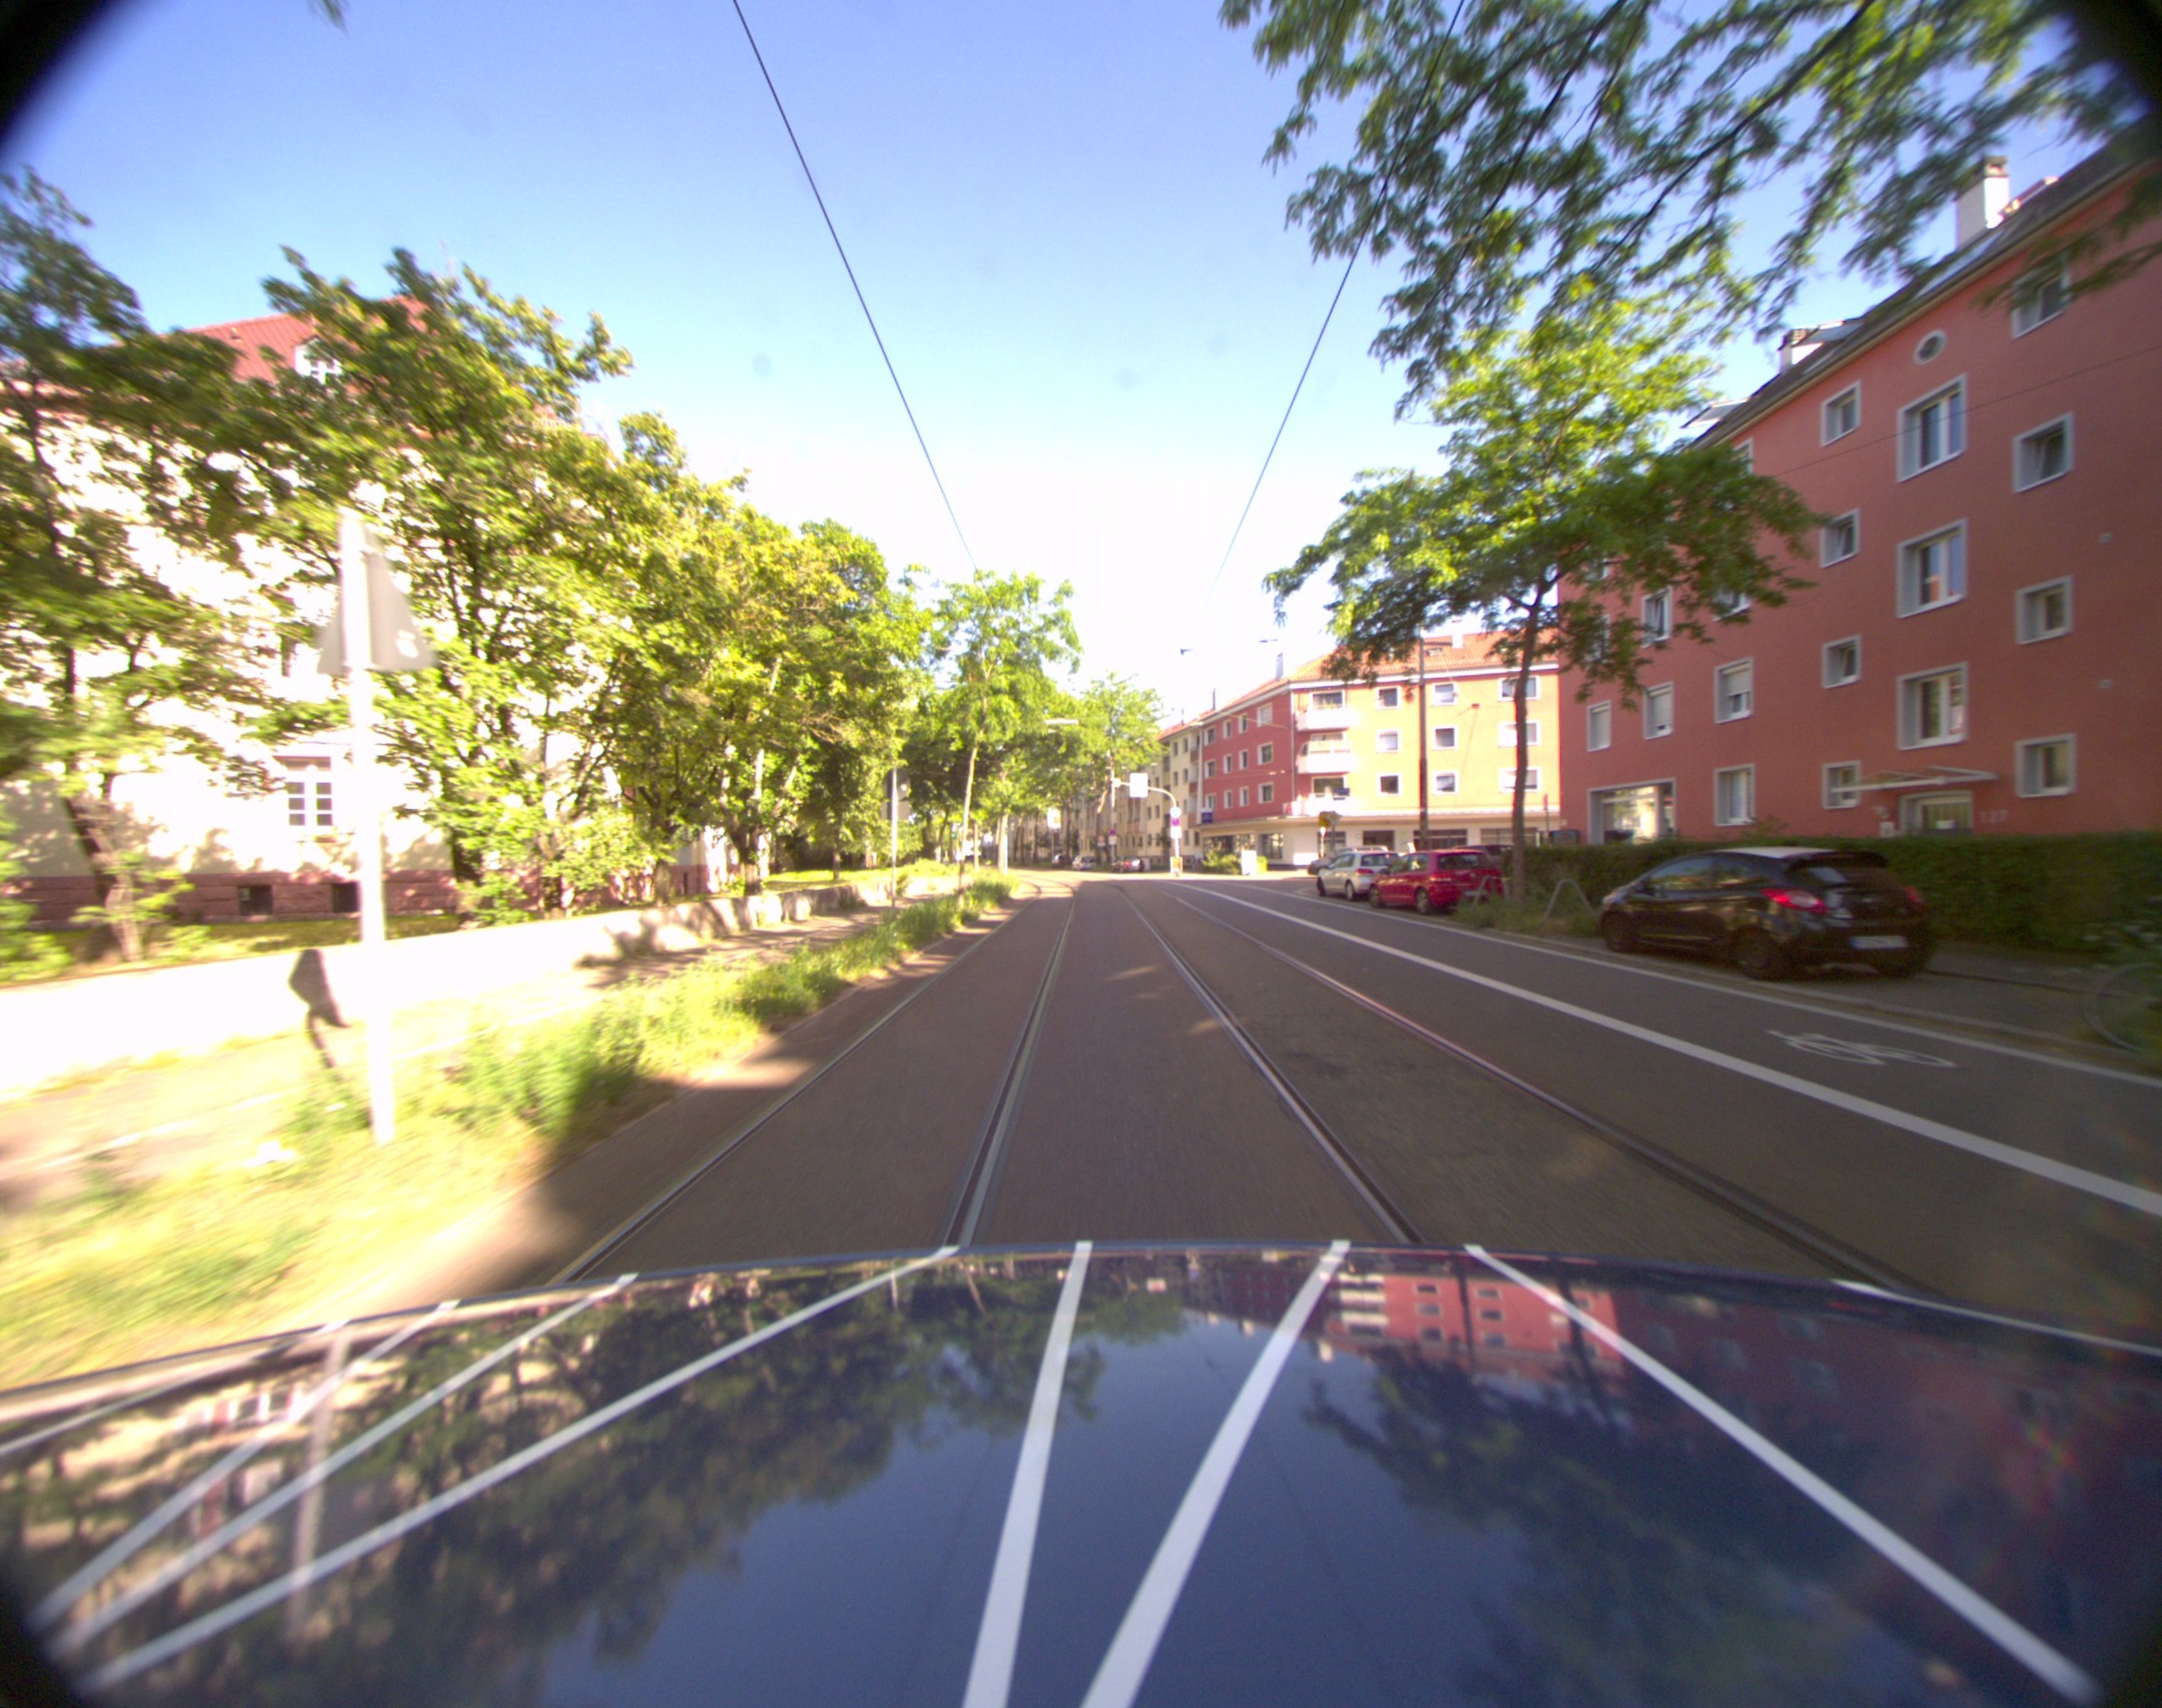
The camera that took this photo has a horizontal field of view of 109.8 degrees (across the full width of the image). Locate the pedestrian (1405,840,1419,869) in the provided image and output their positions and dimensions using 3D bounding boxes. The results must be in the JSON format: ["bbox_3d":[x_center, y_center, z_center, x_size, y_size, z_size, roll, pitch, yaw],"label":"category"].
[{"bbox_3d":[20.427,0.048,46.886,0.803,1.755,0.509,0,1,20],"label":"pedestrian"}]

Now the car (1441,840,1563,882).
[{"bbox_3d":[18.439,0.279,33.509,4.481,1.769,1.791,0,1,21],"label":"car"}]

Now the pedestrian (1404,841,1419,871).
[{"bbox_3d":[19.904,0.108,45.730,0.803,1.755,0.509,0,1,20],"label":"pedestrian"}]

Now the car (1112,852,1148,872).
[{"bbox_3d":[3.784,0.594,59.269,1.880,1.390,3.996,-4,1,-10],"label":"car"}]

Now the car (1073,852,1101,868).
[{"bbox_3d":[0.496,0.556,72.389,1.880,1.390,3.996,-4,1,-10],"label":"car"}]

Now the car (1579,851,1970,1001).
[{"bbox_3d":[8.200,0.721,9.503,1.558,1.446,3.667,-2,1,1],"label":"car"}]

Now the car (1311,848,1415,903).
[{"bbox_3d":[8.537,0.592,23.377,1.577,1.497,4.095,-2,1,-1],"label":"car"}]

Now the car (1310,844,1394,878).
[{"bbox_3d":[14.838,0.374,41.836,4.280,1.769,1.791,0,1,17],"label":"car"}]

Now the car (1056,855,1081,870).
[{"bbox_3d":[-1.321,0.842,79.574,1.880,1.390,3.996,-4,1,-10],"label":"car"}]

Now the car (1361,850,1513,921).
[{"bbox_3d":[8.355,0.662,18.249,1.577,1.446,4.095,-2,1,-2],"label":"car"}]

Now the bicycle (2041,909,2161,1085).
[{"bbox_3d":[7.989,0.961,5.316,1.816,1.114,0.543,-2,1,1],"label":"bicycle"}]
